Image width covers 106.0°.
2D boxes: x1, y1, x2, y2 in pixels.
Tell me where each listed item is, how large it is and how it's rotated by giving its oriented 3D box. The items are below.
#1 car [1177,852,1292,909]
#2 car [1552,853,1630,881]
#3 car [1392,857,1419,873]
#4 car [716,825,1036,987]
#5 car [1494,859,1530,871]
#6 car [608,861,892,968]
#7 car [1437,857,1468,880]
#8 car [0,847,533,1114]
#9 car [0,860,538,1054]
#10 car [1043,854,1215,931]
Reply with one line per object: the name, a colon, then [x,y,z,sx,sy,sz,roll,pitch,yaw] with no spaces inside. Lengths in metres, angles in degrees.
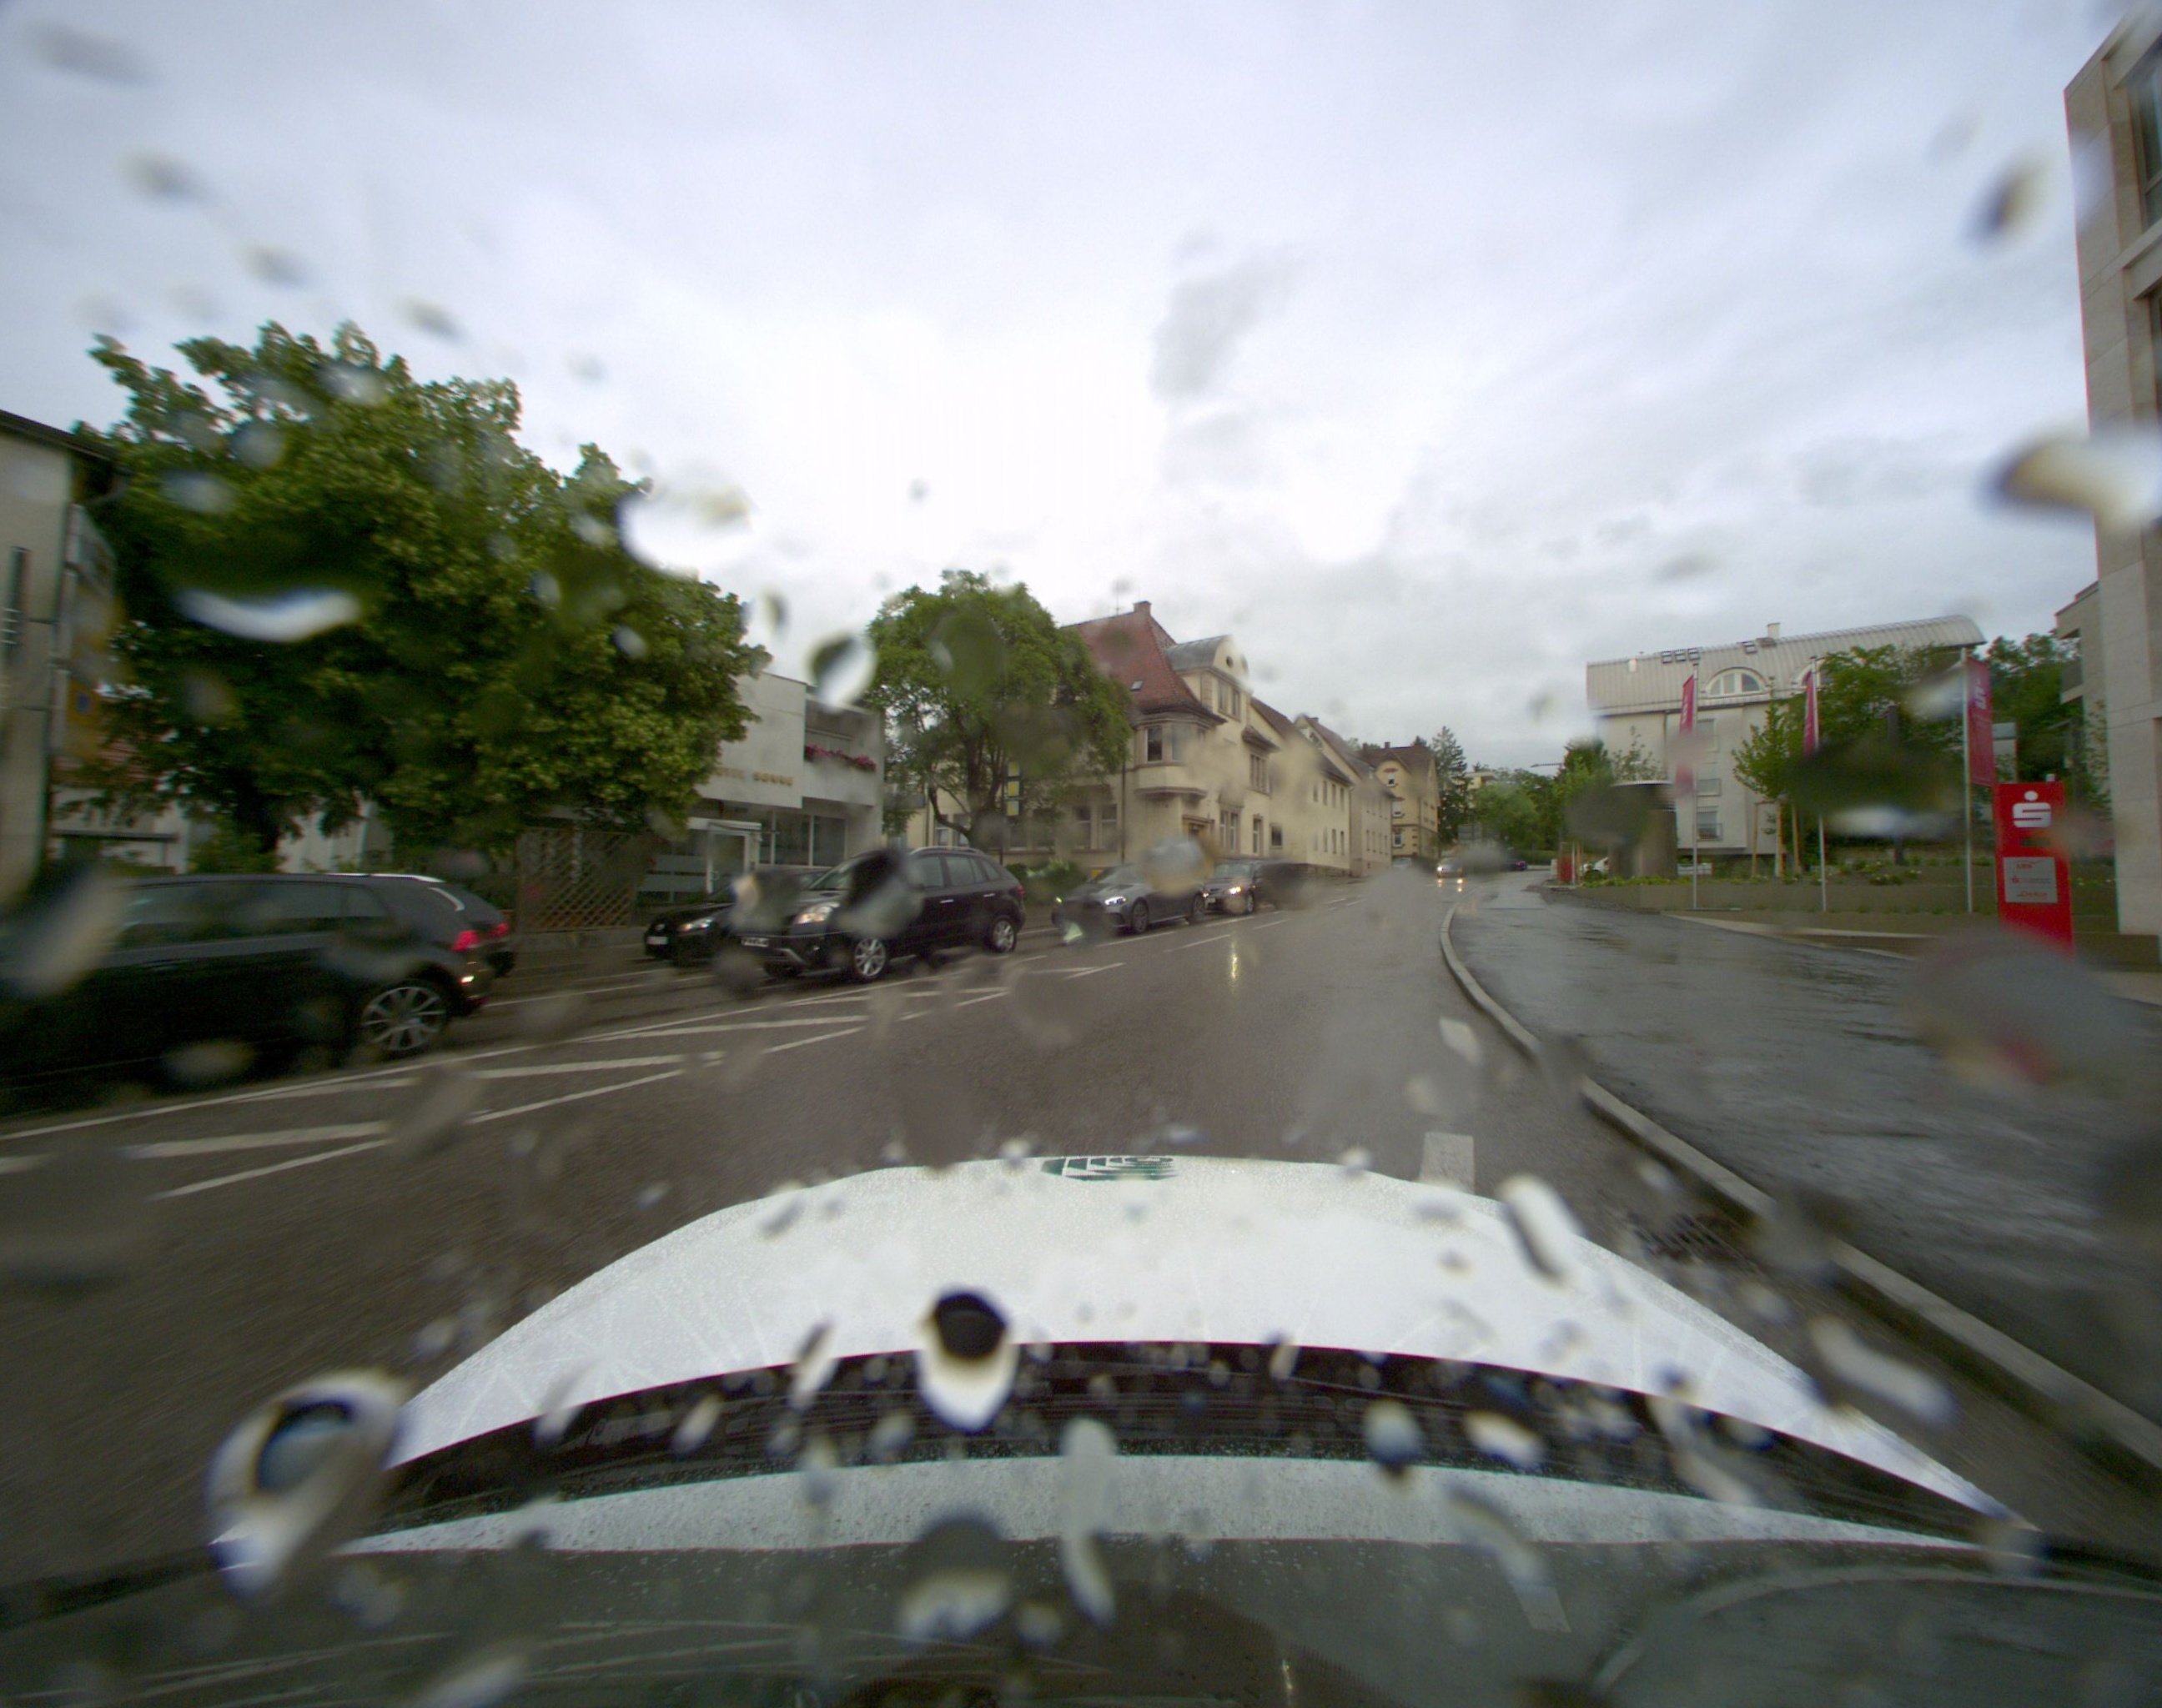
car: [4.431,0.731,23.045,1.755,1.452,4.212,-2,-2,32]
car: [25.262,0.602,40.361,3.190,1.288,1.706,1,0,33]
car: [30.254,1.029,75.962,1.674,1.453,3.252,1,0,34]
car: [-2.623,0.629,11.481,1.755,1.815,4.343,-2,-2,32]
car: [50.509,1.316,95.458,3.653,1.288,1.706,1,0,30]
car: [-5.381,0.900,13.794,1.755,1.519,4.212,-2,-2,32]
car: [27.389,1.056,59.966,1.613,1.598,3.252,1,0,33]
car: [-6.568,0.747,5.564,1.756,1.504,4.342,-2,-2,31]
car: [-8.289,0.849,8.317,1.755,1.519,4.212,-2,-2,32]
car: [1.204,0.779,17.823,1.755,1.452,4.568,-2,-2,32]
